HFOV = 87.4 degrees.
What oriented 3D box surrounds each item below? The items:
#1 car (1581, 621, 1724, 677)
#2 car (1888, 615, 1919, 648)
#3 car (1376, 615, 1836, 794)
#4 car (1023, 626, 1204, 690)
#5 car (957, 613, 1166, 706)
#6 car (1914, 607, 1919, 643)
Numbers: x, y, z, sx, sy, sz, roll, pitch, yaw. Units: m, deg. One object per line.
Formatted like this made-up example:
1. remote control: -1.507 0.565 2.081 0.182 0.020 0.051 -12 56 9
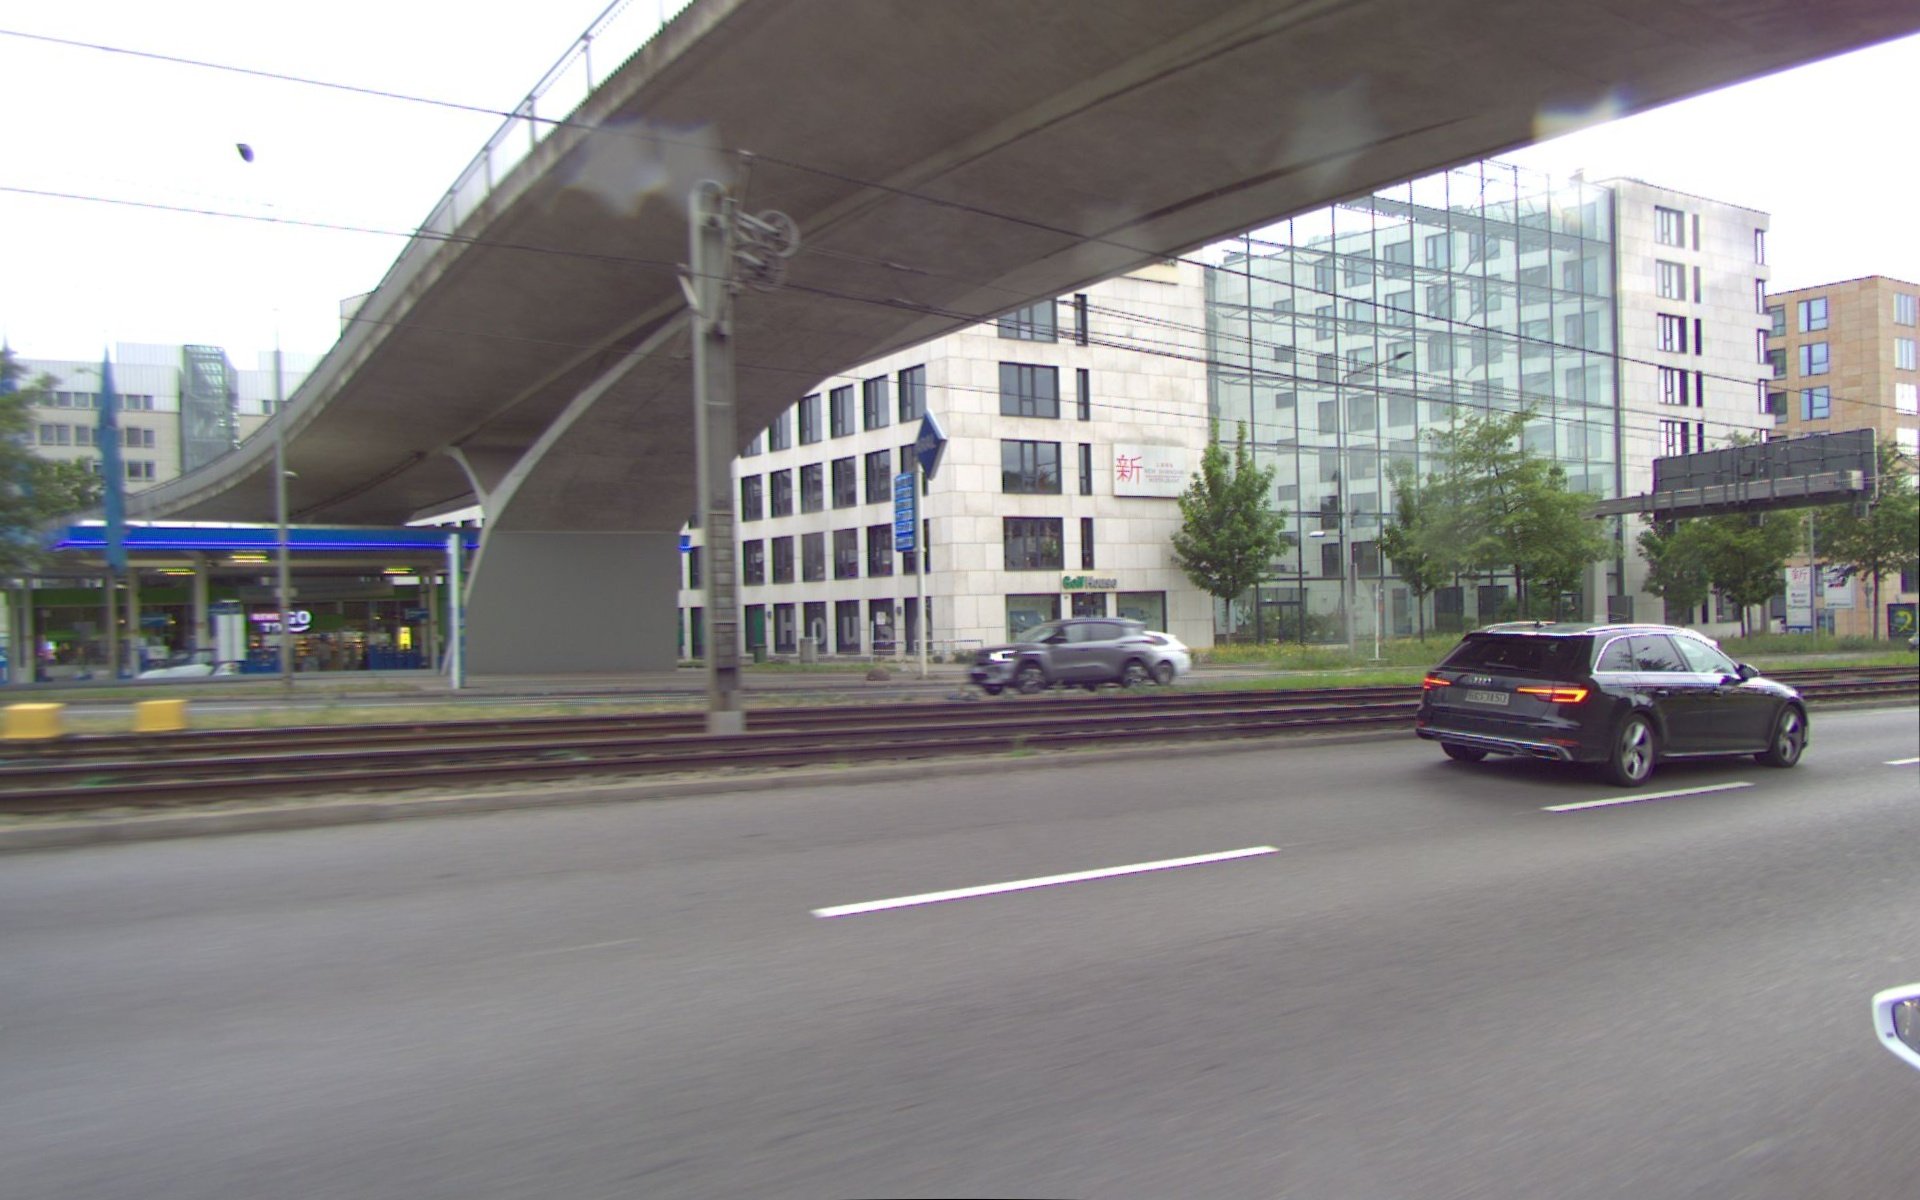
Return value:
1. car: 22.669 1.551 32.834 4.728 1.619 1.758 0 1 -26
2. car: 47.647 1.517 49.215 4.218 1.554 1.804 0 1 -26
3. car: 6.583 0.919 10.127 4.744 1.432 1.779 1 0 -27
4. car: 4.172 1.504 27.184 4.596 1.517 1.913 0 0 -27
5. car: 2.219 1.211 21.878 4.168 1.800 1.914 0 1 -26
6. car: 55.255 1.361 55.473 5.064 1.978 2.052 0 1 -26
